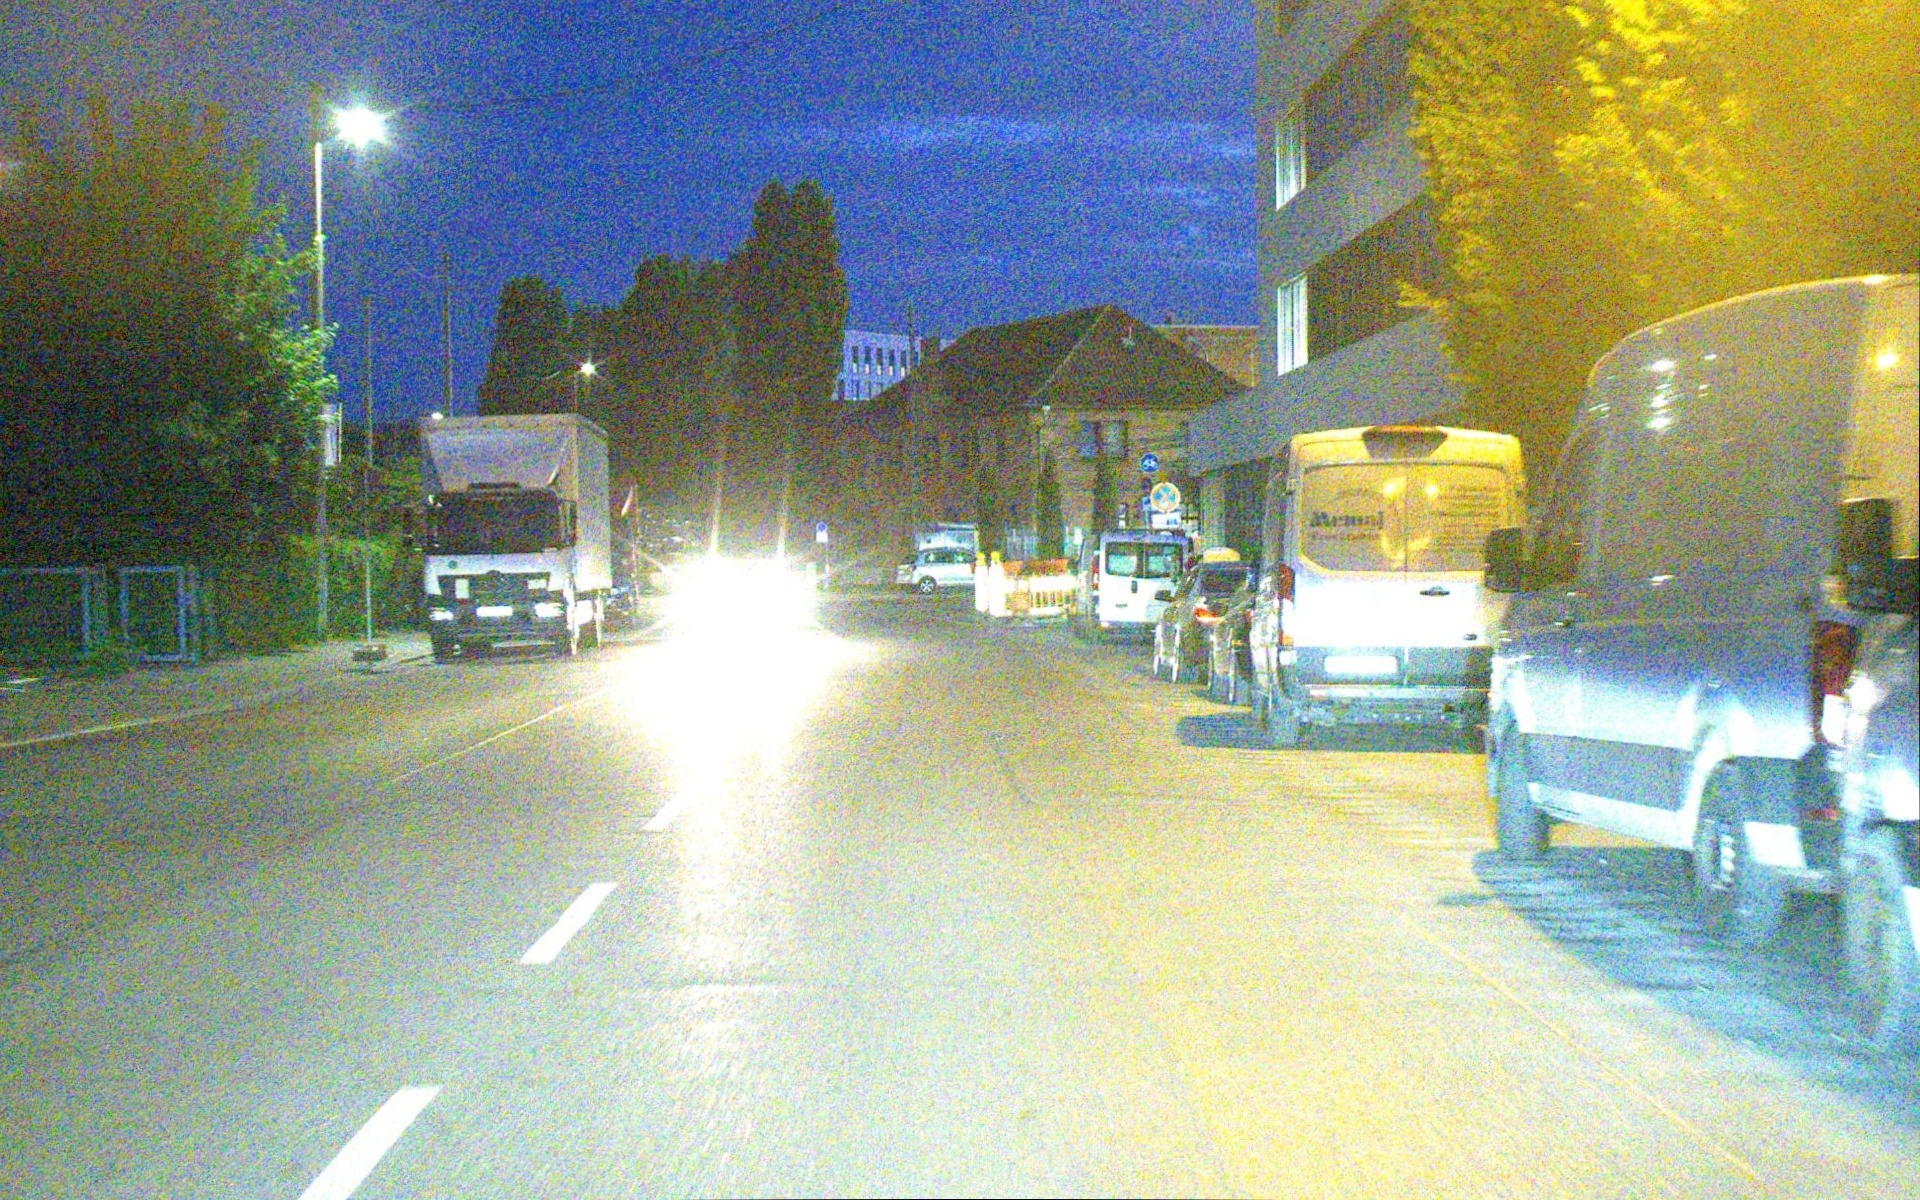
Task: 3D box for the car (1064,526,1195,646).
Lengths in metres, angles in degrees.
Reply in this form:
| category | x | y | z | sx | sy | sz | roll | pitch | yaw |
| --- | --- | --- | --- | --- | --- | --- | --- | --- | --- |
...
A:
| category | x | y | z | sx | sy | sz | roll | pitch | yaw |
| --- | --- | --- | --- | --- | --- | --- | --- | --- | --- |
| car | 2.960 | -0.258 | 61.041 | 1.993 | 2.007 | 4.912 | -1 | 0 | -1 |

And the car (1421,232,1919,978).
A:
| category | x | y | z | sx | sy | sz | roll | pitch | yaw |
| --- | --- | --- | --- | --- | --- | --- | --- | --- | --- |
| car | 3.687 | 0.019 | 14.903 | 2.128 | 2.562 | 5.910 | 3 | 1 | -4 |

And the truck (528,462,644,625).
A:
| category | x | y | z | sx | sy | sz | roll | pitch | yaw |
| --- | --- | --- | --- | --- | --- | --- | --- | --- | --- |
| truck | -10.076 | -1.469 | 92.036 | 2.772 | 4.106 | 9.343 | 0 | 0 | -8 |

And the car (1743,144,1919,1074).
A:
| category | x | y | z | sx | sy | sz | roll | pitch | yaw |
| --- | --- | --- | --- | --- | --- | --- | --- | --- | --- |
| car | 3.664 | 0.056 | 8.247 | 1.993 | 2.562 | 6.014 | 3 | 1 | -1 |

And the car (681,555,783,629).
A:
| category | x | y | z | sx | sy | sz | roll | pitch | yaw |
| --- | --- | --- | --- | --- | --- | --- | --- | --- | --- |
| car | -4.508 | -0.168 | 68.395 | 1.857 | 1.415 | 4.000 | 0 | 0 | -2 |

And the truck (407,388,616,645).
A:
| category | x | y | z | sx | sy | sz | roll | pitch | yaw |
| --- | --- | --- | --- | --- | --- | --- | --- | --- | --- |
| truck | -7.493 | -1.338 | 58.511 | 2.746 | 4.020 | 9.561 | 0 | 0 | -3 |

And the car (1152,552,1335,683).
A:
| category | x | y | z | sx | sy | sz | roll | pitch | yaw |
| --- | --- | --- | --- | --- | --- | --- | --- | --- | --- |
| car | 3.380 | 0.171 | 41.779 | 1.946 | 1.484 | 5.010 | 0 | 1 | 2 |

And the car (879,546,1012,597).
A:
| category | x | y | z | sx | sy | sz | roll | pitch | yaw |
| --- | --- | --- | --- | --- | --- | --- | --- | --- | --- |
| car | -0.519 | -1.034 | 123.414 | 4.325 | 1.640 | 1.893 | -3 | 2 | -22 |

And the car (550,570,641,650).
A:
| category | x | y | z | sx | sy | sz | roll | pitch | yaw |
| --- | --- | --- | --- | --- | --- | --- | --- | --- | --- |
| car | -8.176 | 0.200 | 77.472 | 1.943 | 1.711 | 5.199 | 0 | 0 | -5 |

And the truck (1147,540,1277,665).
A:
| category | x | y | z | sx | sy | sz | roll | pitch | yaw |
| --- | --- | --- | --- | --- | --- | --- | --- | --- | --- |
| truck | 3.411 | 0.023 | 47.051 | 1.370 | 1.639 | 3.812 | 0 | 0 | -2 |

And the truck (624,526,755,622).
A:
| category | x | y | z | sx | sy | sz | roll | pitch | yaw |
| --- | --- | --- | --- | --- | --- | --- | --- | --- | --- |
| truck | -11.104 | -1.055 | 140.424 | 2.754 | 3.770 | 9.139 | -1 | 0 | -21 |

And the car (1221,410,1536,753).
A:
| category | x | y | z | sx | sy | sz | roll | pitch | yaw |
| --- | --- | --- | --- | --- | --- | --- | --- | --- | --- |
| car | 3.408 | -0.165 | 29.101 | 1.993 | 2.517 | 5.909 | 3 | 1 | 2 |

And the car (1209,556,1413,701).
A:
| category | x | y | z | sx | sy | sz | roll | pitch | yaw |
| --- | --- | --- | --- | --- | --- | --- | --- | --- | --- |
| car | 3.566 | 0.251 | 35.627 | 1.769 | 1.407 | 4.550 | 0 | 1 | 2 |
